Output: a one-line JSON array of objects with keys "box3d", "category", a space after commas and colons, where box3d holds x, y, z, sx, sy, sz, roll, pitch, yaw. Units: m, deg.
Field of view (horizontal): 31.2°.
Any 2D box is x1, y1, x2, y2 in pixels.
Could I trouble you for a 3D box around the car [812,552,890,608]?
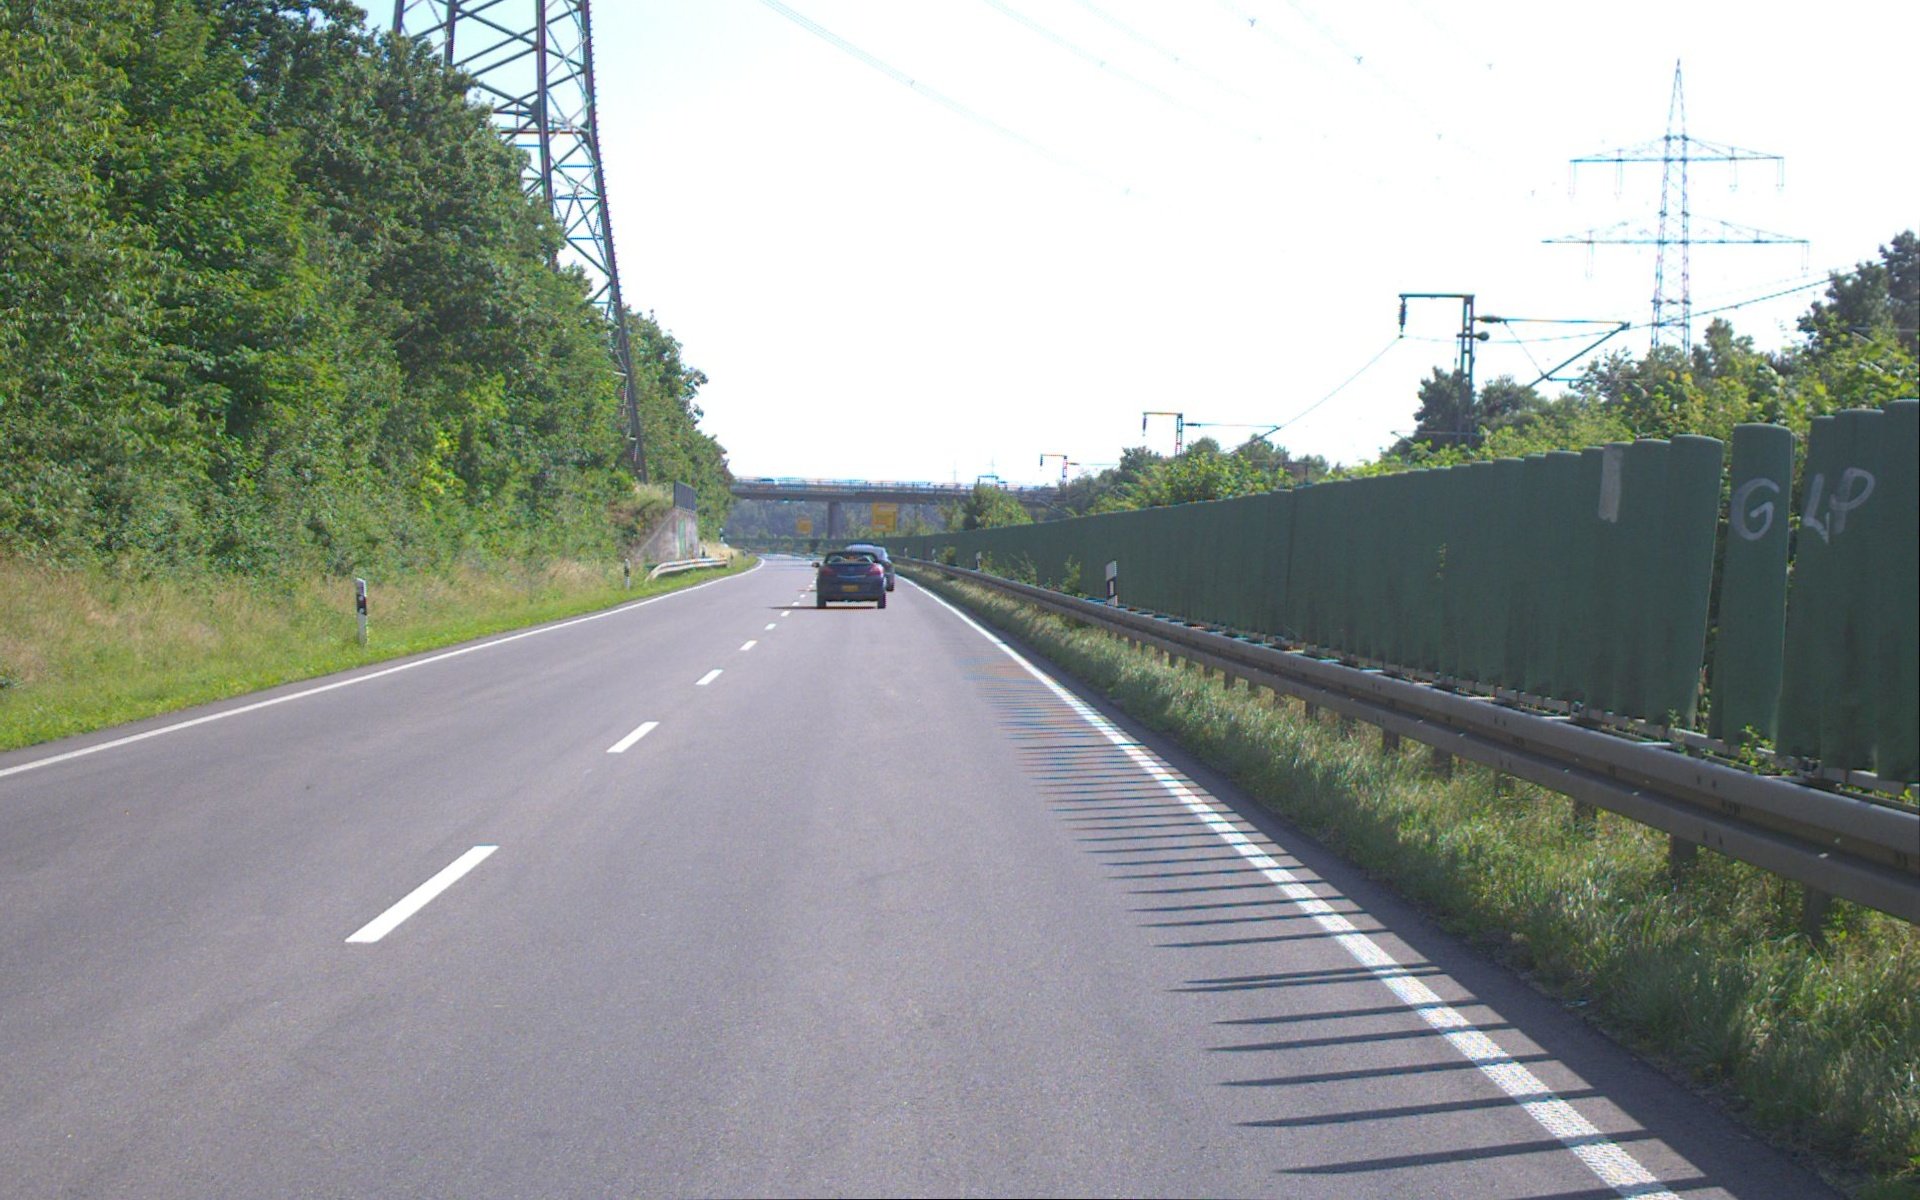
[{"box3d": [-2.612, -0.485, 81.907, 1.663, 1.257, 4.001, 1, 1, -4], "category": "car"}]
